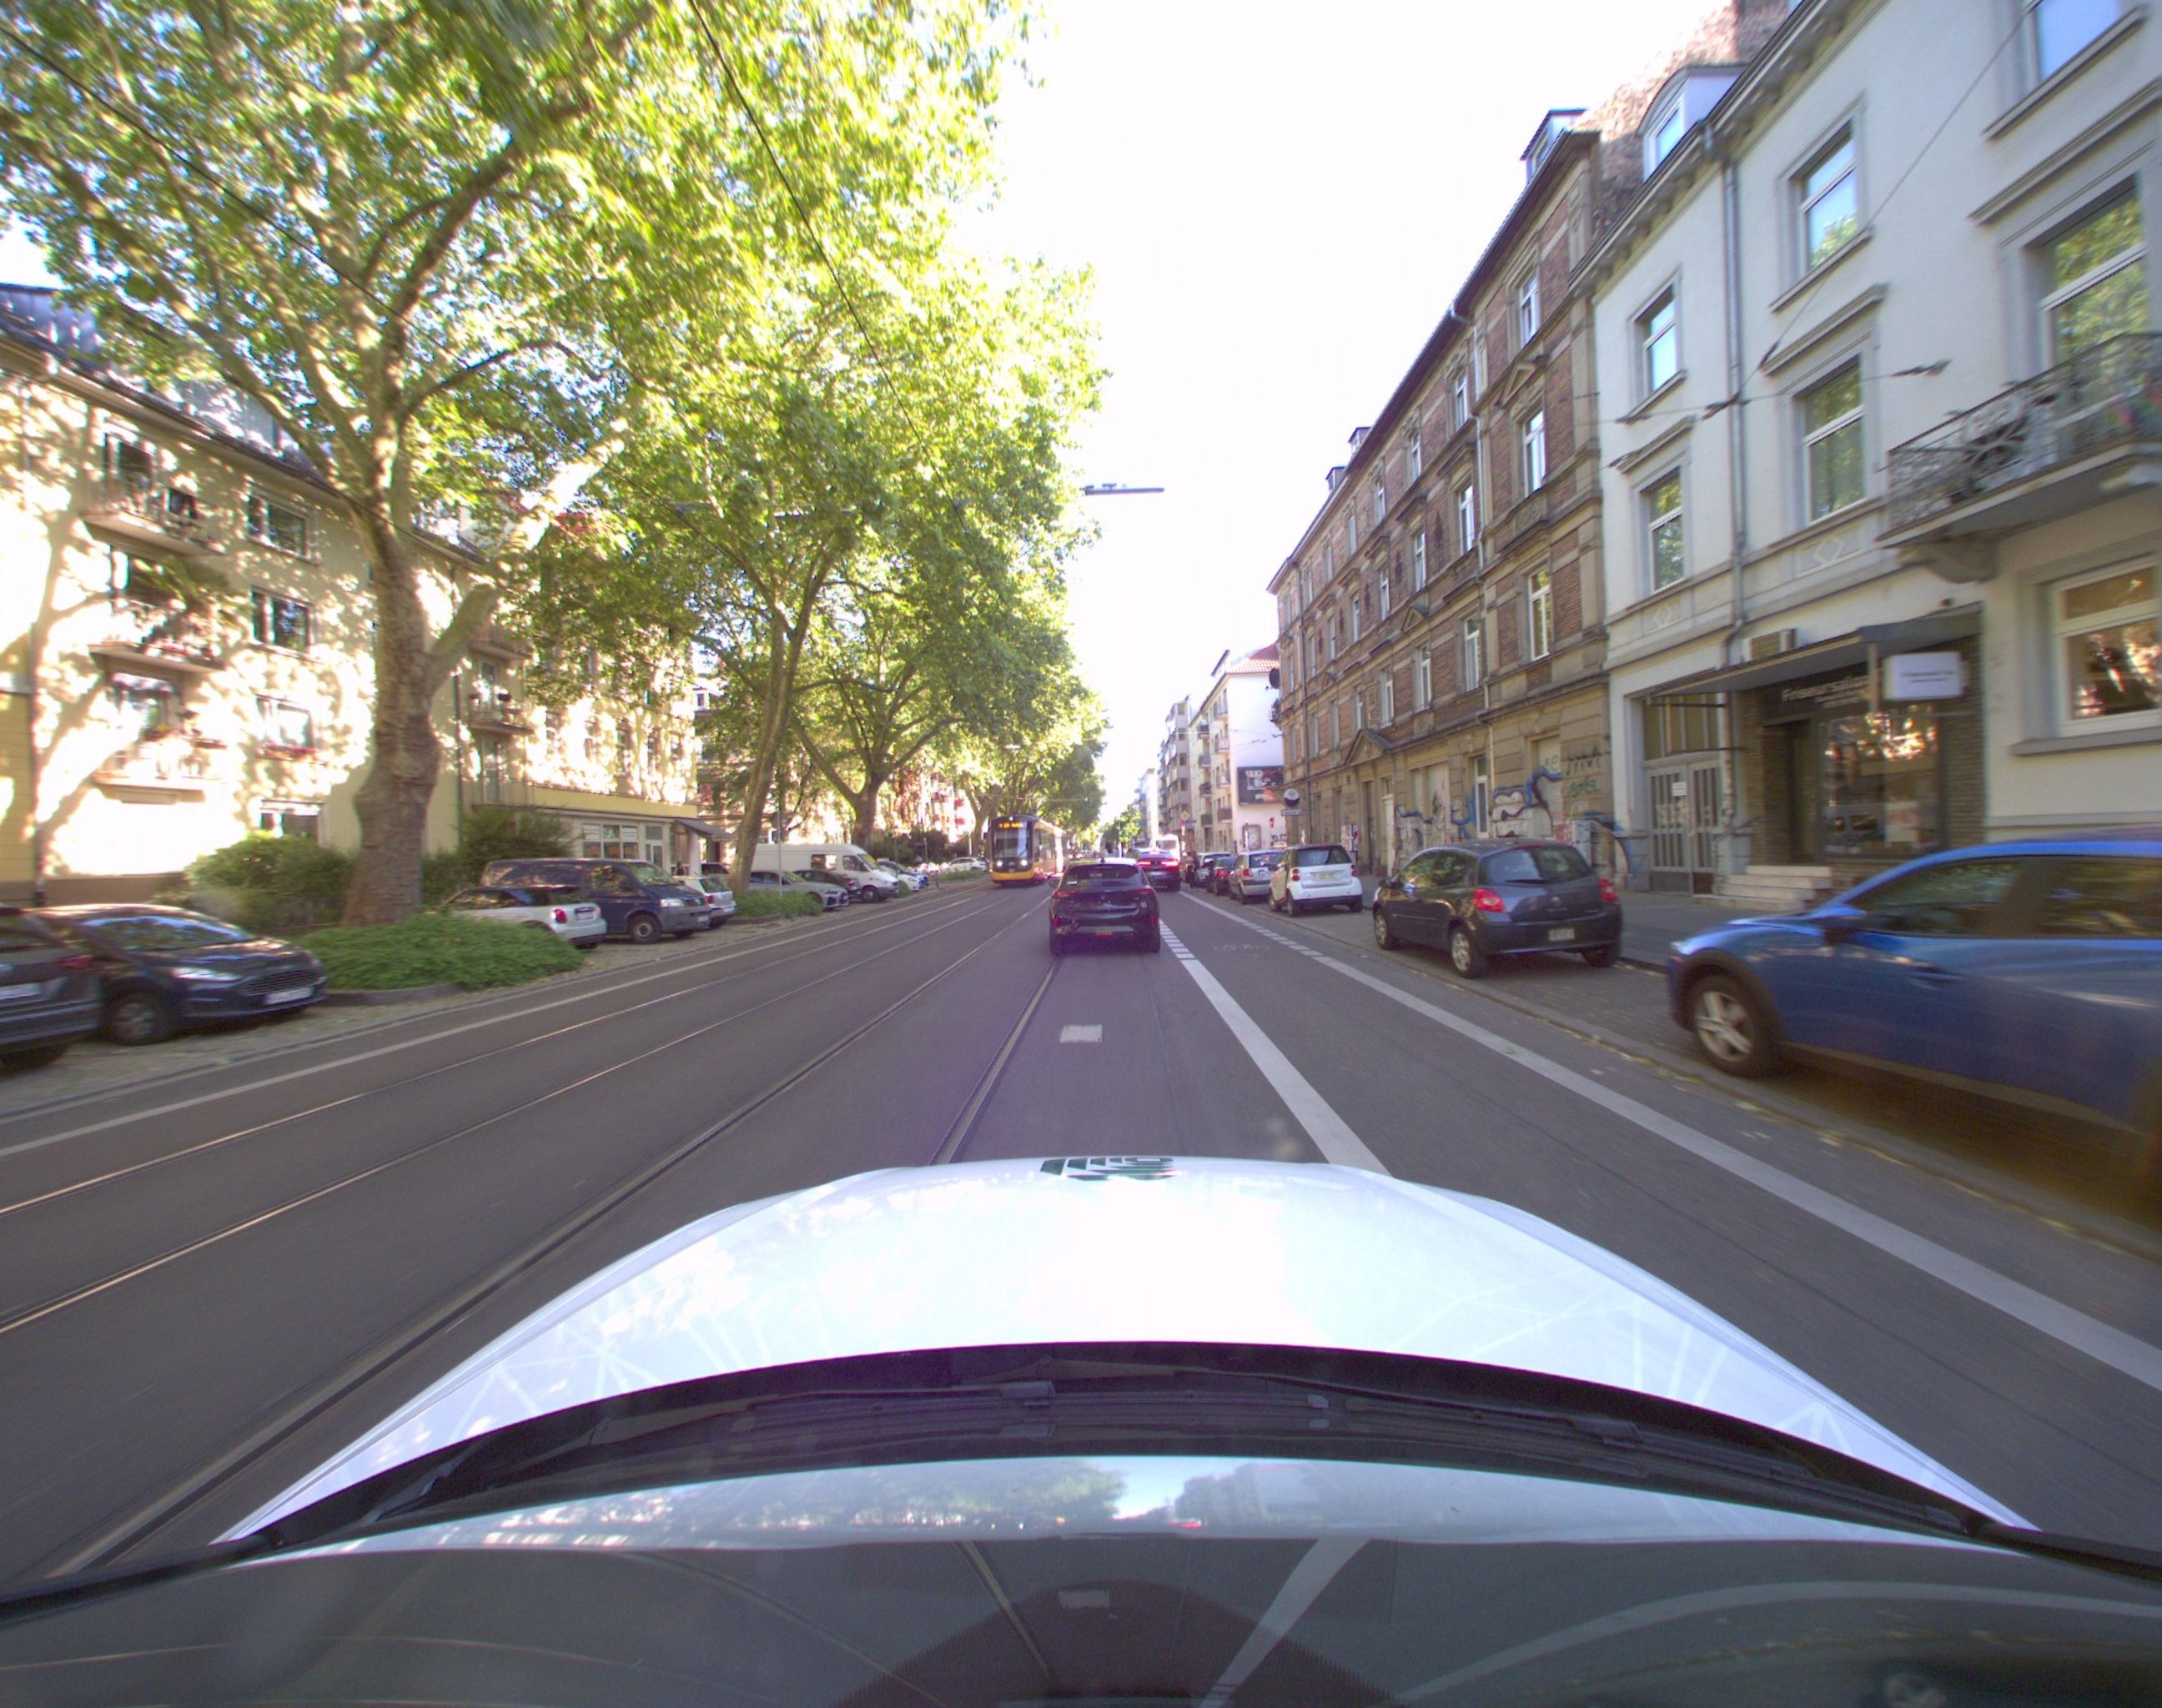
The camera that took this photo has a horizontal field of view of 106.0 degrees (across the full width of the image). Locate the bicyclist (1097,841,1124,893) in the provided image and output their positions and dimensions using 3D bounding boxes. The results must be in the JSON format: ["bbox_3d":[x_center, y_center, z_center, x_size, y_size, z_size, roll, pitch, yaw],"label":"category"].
[{"bbox_3d":[1.010,0.444,28.124,0.845,1.740,1.162,-2,0,0],"label":"bicyclist"}]

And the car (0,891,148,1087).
[{"bbox_3d":[-11.207,1.192,7.099,3.980,1.627,1.880,-1,0,1],"label":"car"}]

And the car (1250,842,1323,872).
[{"bbox_3d":[13.662,0.190,54.270,4.363,1.798,1.876,-2,0,0],"label":"car"}]

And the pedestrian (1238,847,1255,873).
[{"bbox_3d":[10.226,0.344,50.242,0.863,1.567,0.768,-2,0,0],"label":"pedestrian"}]

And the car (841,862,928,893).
[{"bbox_3d":[-9.778,1.152,40.652,3.909,1.498,1.676,-1,0,-2],"label":"car"}]

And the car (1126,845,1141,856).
[{"bbox_3d":[7.162,-0.471,111.846,1.803,1.338,3.935,-5,0,3],"label":"car"}]

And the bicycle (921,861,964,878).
[{"bbox_3d":[-9.953,1.123,58.579,2.919,1.169,0.995,-2,0,18],"label":"bicycle"}]

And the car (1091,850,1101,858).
[{"bbox_3d":[3.047,0.002,159.766,1.802,1.338,3.935,-2,0,3],"label":"car"}]

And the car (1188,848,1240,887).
[{"bbox_3d":[5.651,0.539,35.056,1.655,1.419,3.935,-5,0,3],"label":"car"}]

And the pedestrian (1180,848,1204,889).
[{"bbox_3d":[4.335,0.571,31.876,0.862,1.567,0.769,-2,0,4],"label":"pedestrian"}]

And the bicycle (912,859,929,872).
[{"bbox_3d":[-15.333,1.108,77.862,0.984,1.169,2.951,-2,0,0],"label":"bicycle"}]

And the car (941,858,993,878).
[{"bbox_3d":[-9.055,1.101,65.022,3.909,1.498,1.676,-1,0,-2],"label":"car"}]

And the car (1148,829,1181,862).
[{"bbox_3d":[6.274,-0.629,61.630,2.067,2.219,4.936,-5,0,3],"label":"car"}]

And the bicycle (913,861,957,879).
[{"bbox_3d":[-10.326,1.130,57.521,2.919,1.169,0.995,-2,0,18],"label":"bicycle"}]

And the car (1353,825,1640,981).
[{"bbox_3d":[4.993,0.516,10.444,1.704,1.483,3.765,-5,0,1],"label":"car"}]

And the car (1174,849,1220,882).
[{"bbox_3d":[5.669,0.557,40.164,1.803,1.379,3.935,-5,0,3],"label":"car"}]

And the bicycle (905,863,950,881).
[{"bbox_3d":[-10.636,1.229,56.471,2.919,1.169,0.995,-2,0,18],"label":"bicycle"}]

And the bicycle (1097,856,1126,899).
[{"bbox_3d":[1.035,0.775,28.237,0.858,1.407,2.524,-2,0,0],"label":"bicycle"}]

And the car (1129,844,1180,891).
[{"bbox_3d":[2.911,0.521,32.808,1.803,1.742,3.935,-1,0,2],"label":"car"}]

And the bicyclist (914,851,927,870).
[{"bbox_3d":[-15.374,0.599,77.984,0.984,1.756,1.154,-2,0,-1],"label":"bicyclist"}]

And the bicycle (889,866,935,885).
[{"bbox_3d":[-11.484,1.450,55.336,2.919,1.169,0.995,-2,0,18],"label":"bicycle"}]

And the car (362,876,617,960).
[{"bbox_3d":[-11.500,1.214,16.010,3.721,1.498,1.747,-1,0,1],"label":"car"}]

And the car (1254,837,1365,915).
[{"bbox_3d":[5.228,0.478,18.978,1.563,1.517,3.039,-5,0,-1],"label":"car"}]

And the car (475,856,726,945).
[{"bbox_3d":[-11.034,1.031,18.934,4.656,1.924,1.981,-1,0,2],"label":"car"}]

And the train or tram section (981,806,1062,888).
[{"bbox_3d":[-2.909,-0.353,44.062,2.724,3.681,12.724,-3,0,3],"label":"train or tram section"}]

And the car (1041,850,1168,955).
[{"bbox_3d":[0.379,0.696,13.563,1.787,1.441,3.532,-2,1,1],"label":"car"}]

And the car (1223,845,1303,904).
[{"bbox_3d":[5.283,0.555,24.032,1.697,1.456,3.702,-5,0,5],"label":"car"}]

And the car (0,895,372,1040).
[{"bbox_3d":[-11.099,1.260,9.570,3.907,1.421,1.818,-1,0,0],"label":"car"}]

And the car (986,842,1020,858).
[{"bbox_3d":[-9.117,-0.445,95.428,3.909,1.790,1.676,-1,0,-2],"label":"car"}]

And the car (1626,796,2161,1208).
[{"bbox_3d":[4.934,0.501,3.977,1.873,1.456,4.028,-5,0,3],"label":"car"}]

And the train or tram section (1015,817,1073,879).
[{"bbox_3d":[-2.348,-0.383,56.790,2.724,3.681,12.724,-3,0,3],"label":"train or tram section"}]

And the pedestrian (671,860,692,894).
[{"bbox_3d":[-17.861,1.015,36.411,0.660,1.498,0.626,0,0,-9],"label":"pedestrian"}]

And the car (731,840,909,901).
[{"bbox_3d":[-10.776,0.672,34.033,6.604,2.409,2.458,-1,0,1],"label":"car"}]

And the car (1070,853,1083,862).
[{"bbox_3d":[-0.722,0.522,128.621,1.802,1.338,3.935,-2,0,3],"label":"car"}]

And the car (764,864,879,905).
[{"bbox_3d":[-9.976,1.165,31.491,3.909,1.498,1.676,-1,0,-2],"label":"car"}]

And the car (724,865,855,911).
[{"bbox_3d":[-10.083,1.173,28.340,3.904,1.498,1.678,-1,0,2],"label":"car"}]

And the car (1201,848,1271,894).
[{"bbox_3d":[5.367,0.567,28.653,1.803,1.338,3.935,-5,0,3],"label":"car"}]

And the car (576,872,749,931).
[{"bbox_3d":[-11.043,1.238,21.636,3.721,1.430,1.638,-1,0,1],"label":"car"}]

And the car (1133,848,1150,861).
[{"bbox_3d":[6.944,0.025,93.963,1.803,1.338,3.935,-5,0,3],"label":"car"}]

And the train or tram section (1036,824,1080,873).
[{"bbox_3d":[-1.782,-0.454,69.522,2.724,3.681,12.724,-3,0,3],"label":"train or tram section"}]

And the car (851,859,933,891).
[{"bbox_3d":[-9.958,1.090,43.115,3.909,1.577,1.676,-1,0,-2],"label":"car"}]
